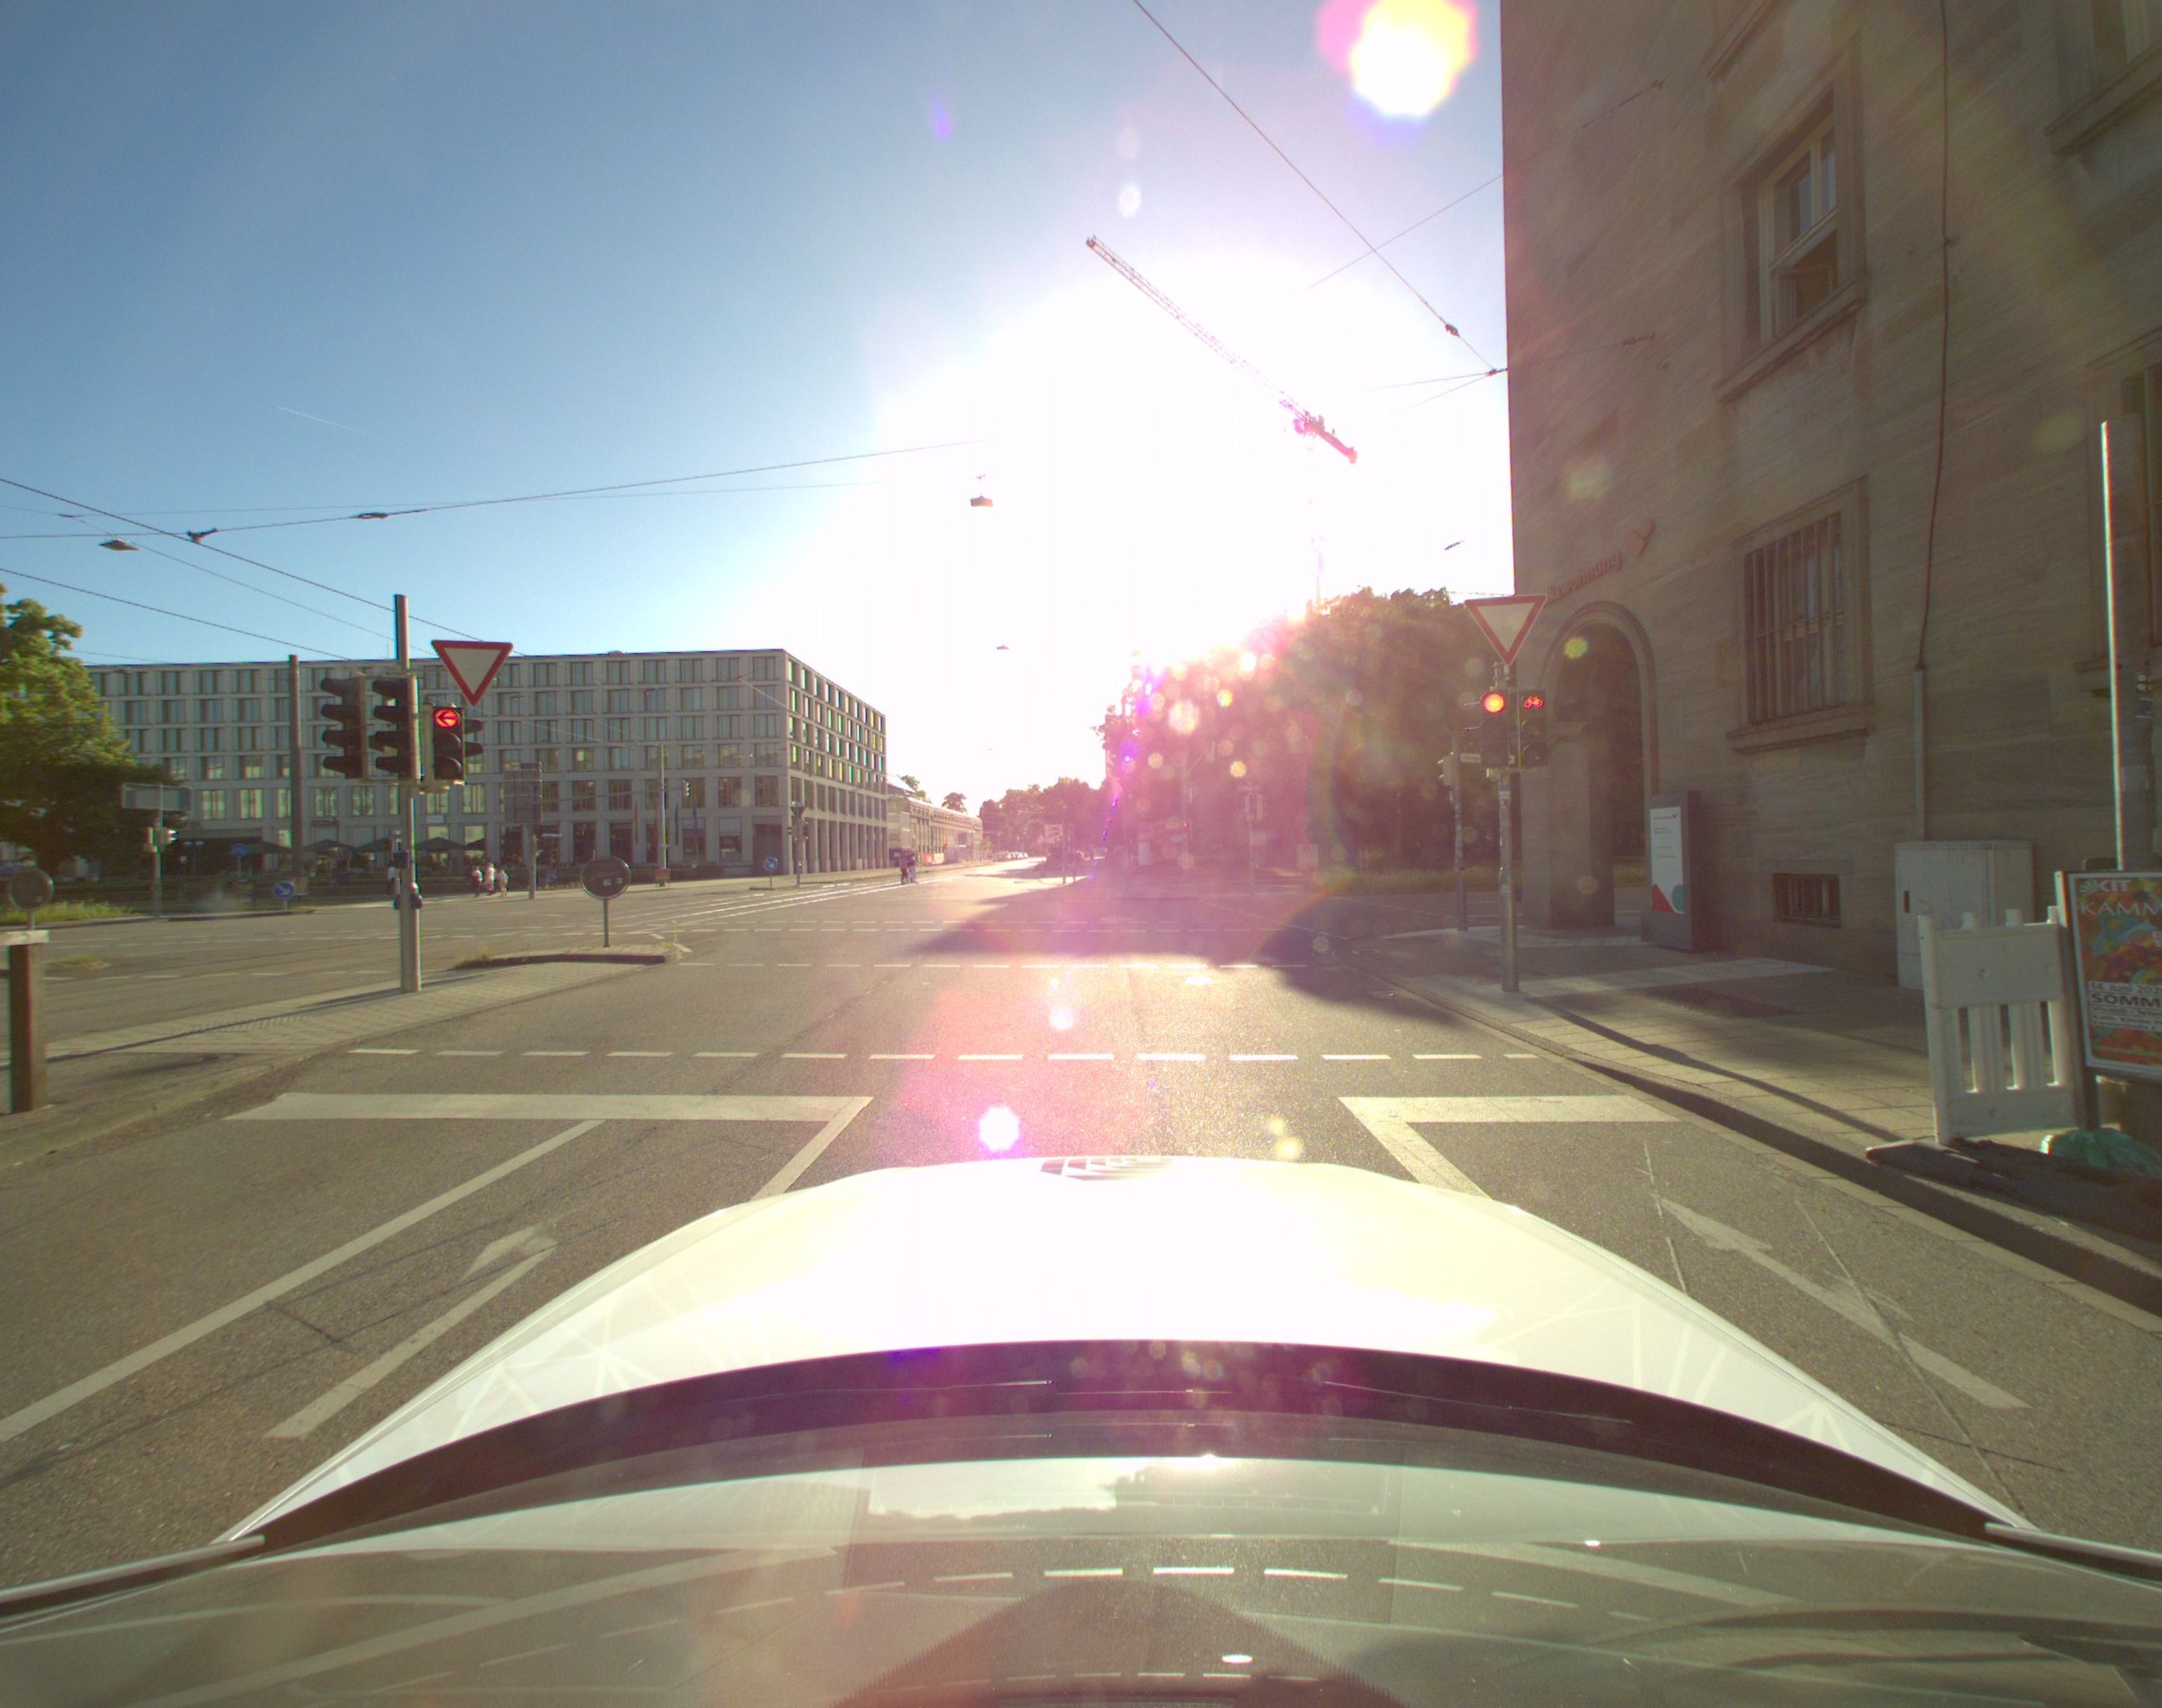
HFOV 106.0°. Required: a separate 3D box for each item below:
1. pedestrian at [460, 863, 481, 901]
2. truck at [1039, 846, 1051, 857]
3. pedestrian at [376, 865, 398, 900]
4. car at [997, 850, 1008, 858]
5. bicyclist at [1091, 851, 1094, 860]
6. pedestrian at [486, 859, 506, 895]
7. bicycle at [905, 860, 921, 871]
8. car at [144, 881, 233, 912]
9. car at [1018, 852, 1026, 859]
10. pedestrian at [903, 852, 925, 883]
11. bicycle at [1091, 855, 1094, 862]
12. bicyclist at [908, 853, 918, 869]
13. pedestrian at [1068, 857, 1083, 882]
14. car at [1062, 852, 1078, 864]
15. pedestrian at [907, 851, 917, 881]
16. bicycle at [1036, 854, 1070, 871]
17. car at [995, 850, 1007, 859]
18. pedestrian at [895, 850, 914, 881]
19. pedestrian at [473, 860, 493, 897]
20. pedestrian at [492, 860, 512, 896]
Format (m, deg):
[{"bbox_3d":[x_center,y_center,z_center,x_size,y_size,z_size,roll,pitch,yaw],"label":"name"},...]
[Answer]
[{"bbox_3d":[-33.014,1.498,44.044,0.528,2.013,0.800,-2,0,-5],"label":"pedestrian"},{"bbox_3d":[-6.876,-0.431,155.948,1.908,2.092,4.002,-2,0,2],"label":"truck"},{"bbox_3d":[-37.601,1.539,44.143,0.557,1.903,0.684,-2,0,10],"label":"pedestrian"},{"bbox_3d":[-15.440,0.002,160.710,1.724,1.653,4.002,-2,0,2],"label":"car"},{"bbox_3d":[1.426,0.142,101.216,0.317,1.127,0.291,-2,0,1],"label":"bicyclist"},{"bbox_3d":[-33.426,1.302,46.542,0.528,2.013,0.800,-2,0,-5],"label":"pedestrian"},{"bbox_3d":[-18.462,1.299,89.599,0.872,1.121,3.015,-2,0,3],"label":"bicycle"},{"bbox_3d":[-46.877,2.222,42.822,3.170,1.438,1.473,-2,0,4],"label":"car"},{"bbox_3d":[-14.054,0.322,194.913,1.478,1.750,4.002,-2,0,2],"label":"car"},{"bbox_3d":[-8.891,0.724,43.311,0.980,1.587,0.661,-2,-1,3],"label":"pedestrian"},{"bbox_3d":[1.438,0.559,101.171,0.323,0.868,1.484,-2,0,2],"label":"bicycle"},{"bbox_3d":[-18.476,0.774,89.652,0.872,1.641,0.822,-2,0,3],"label":"bicyclist"},{"bbox_3d":[-0.313,0.869,44.711,0.749,1.332,0.743,-2,0,3],"label":"pedestrian"},{"bbox_3d":[-1.217,0.429,92.381,1.814,1.279,3.999,-2,0,0],"label":"car"},{"bbox_3d":[-9.360,0.645,45.083,0.440,1.662,0.376,-2,0,1],"label":"pedestrian"},{"bbox_3d":[-2.327,0.724,67.372,2.728,1.367,0.633,-1,-1,12],"label":"bicycle"},{"bbox_3d":[-15.446,0.059,156.598,1.724,1.653,4.002,-2,0,2],"label":"car"},{"bbox_3d":[-9.584,0.635,44.229,0.792,1.639,0.534,-2,0,4],"label":"pedestrian"},{"bbox_3d":[-33.192,1.328,45.211,0.528,2.013,0.800,-2,0,-5],"label":"pedestrian"},{"bbox_3d":[-32.196,1.322,45.261,0.528,2.013,0.800,-2,0,-5],"label":"pedestrian"}]
